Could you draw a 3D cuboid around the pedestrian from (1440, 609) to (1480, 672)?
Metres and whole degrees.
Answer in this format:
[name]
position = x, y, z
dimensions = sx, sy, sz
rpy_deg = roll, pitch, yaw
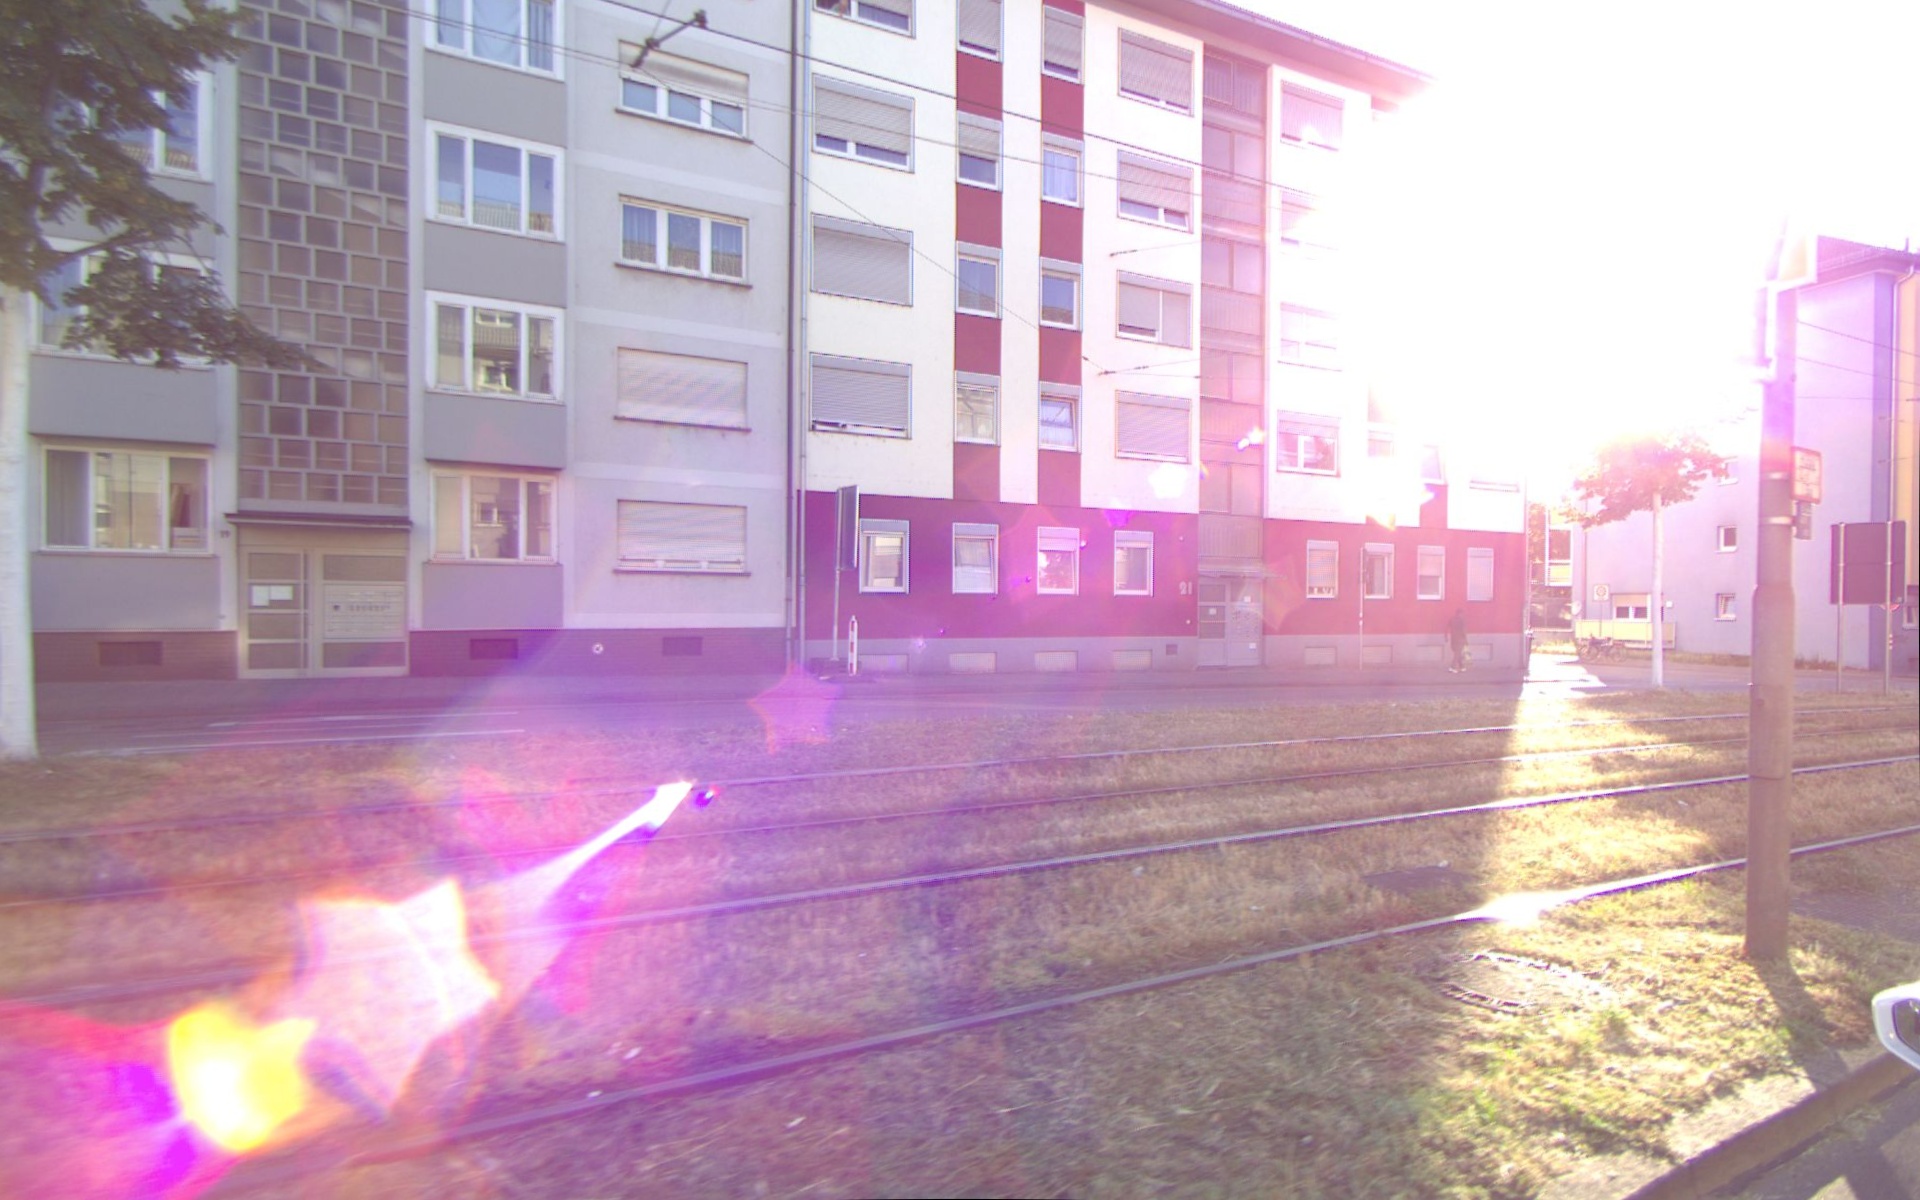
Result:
[pedestrian]
position = 13.813, 1.104, 27.736
dimensions = 0.781, 1.712, 0.611
rpy_deg = 1, 1, -26

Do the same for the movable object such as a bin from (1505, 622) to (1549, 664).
[movable object such as a bin]
position = 17.527, 1.320, 31.060
dimensions = 0.795, 1.242, 0.863
rpy_deg = 1, 0, -25

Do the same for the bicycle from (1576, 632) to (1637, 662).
[bicycle]
position = 25.672, 1.843, 39.920
dimensions = 0.598, 1.090, 1.940
rpy_deg = 1, 0, -37
